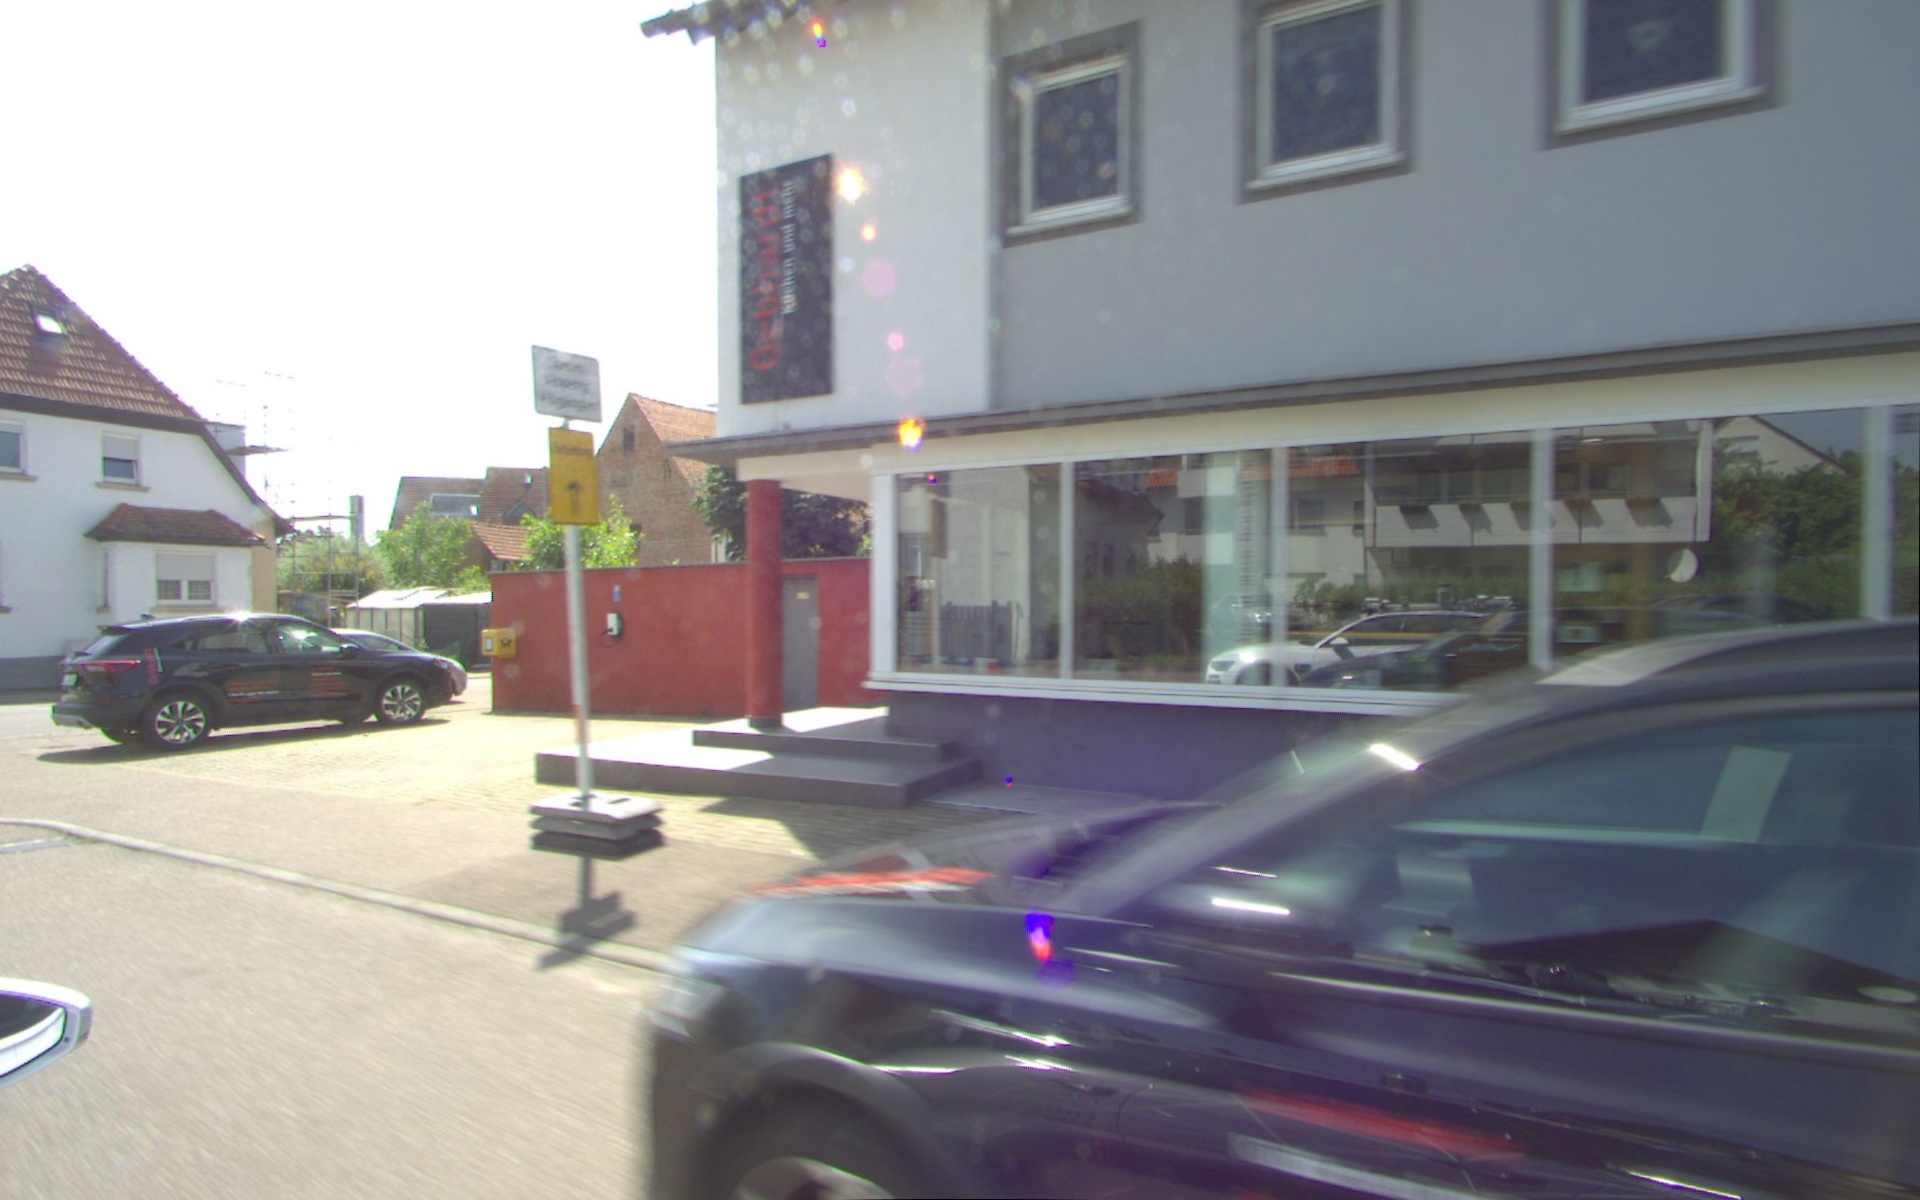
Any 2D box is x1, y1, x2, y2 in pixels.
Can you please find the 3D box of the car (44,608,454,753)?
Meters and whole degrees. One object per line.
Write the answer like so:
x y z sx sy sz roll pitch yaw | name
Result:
-9.582 0.980 13.855 1.823 1.674 4.282 -1 -1 35 | car

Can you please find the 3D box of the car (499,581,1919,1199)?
1.347 0.786 1.768 4.340 1.546 1.760 -1 -2 30 | car

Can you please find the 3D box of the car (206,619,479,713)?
-11.245 1.125 18.476 1.672 1.523 3.976 -1 -1 35 | car
